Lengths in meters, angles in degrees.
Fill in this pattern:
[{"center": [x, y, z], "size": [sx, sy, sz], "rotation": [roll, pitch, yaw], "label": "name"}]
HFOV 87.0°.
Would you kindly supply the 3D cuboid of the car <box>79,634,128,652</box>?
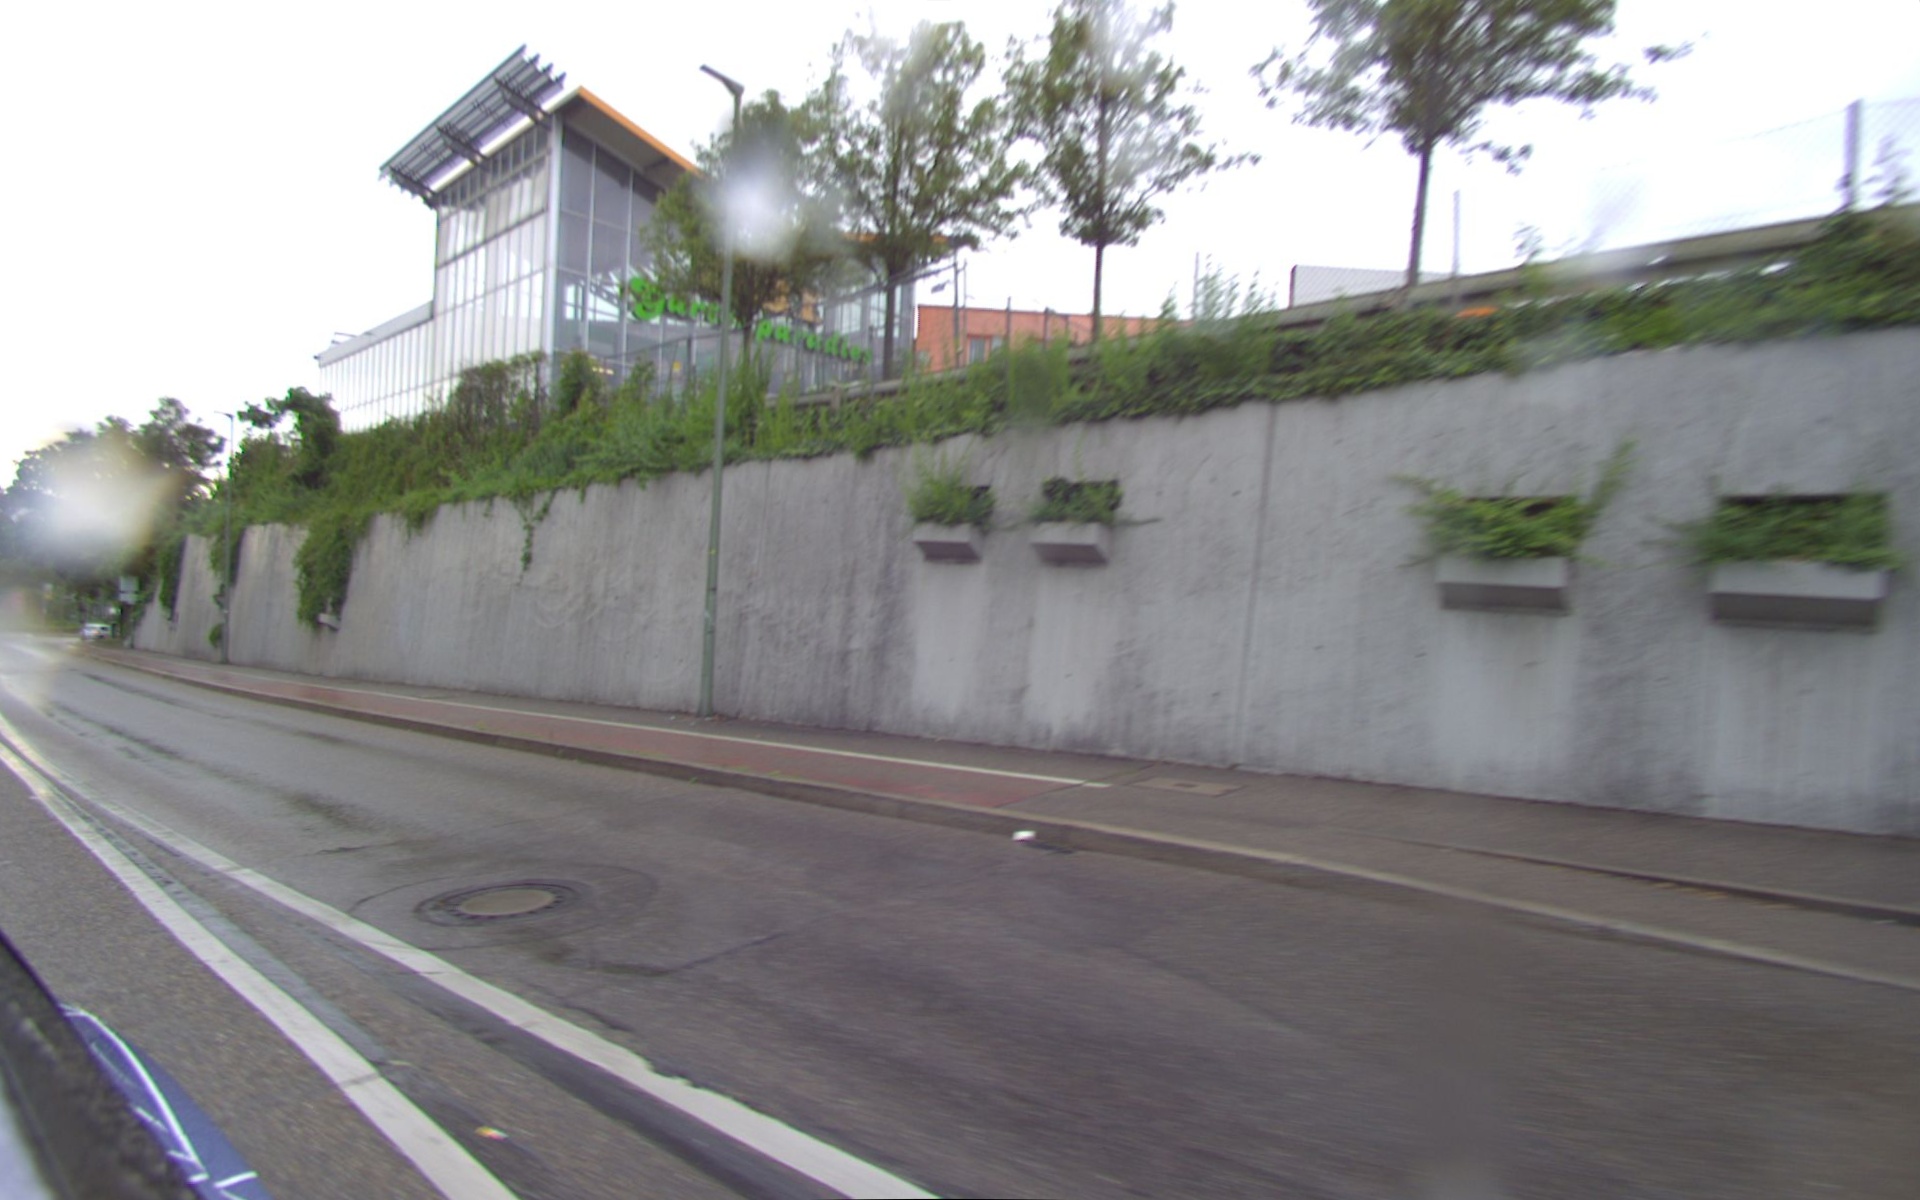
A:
[{"center": [-74.222, 3.718, 87.729], "size": [1.493, 1.459, 3.824], "rotation": [0, -2, -10], "label": "car"}]
